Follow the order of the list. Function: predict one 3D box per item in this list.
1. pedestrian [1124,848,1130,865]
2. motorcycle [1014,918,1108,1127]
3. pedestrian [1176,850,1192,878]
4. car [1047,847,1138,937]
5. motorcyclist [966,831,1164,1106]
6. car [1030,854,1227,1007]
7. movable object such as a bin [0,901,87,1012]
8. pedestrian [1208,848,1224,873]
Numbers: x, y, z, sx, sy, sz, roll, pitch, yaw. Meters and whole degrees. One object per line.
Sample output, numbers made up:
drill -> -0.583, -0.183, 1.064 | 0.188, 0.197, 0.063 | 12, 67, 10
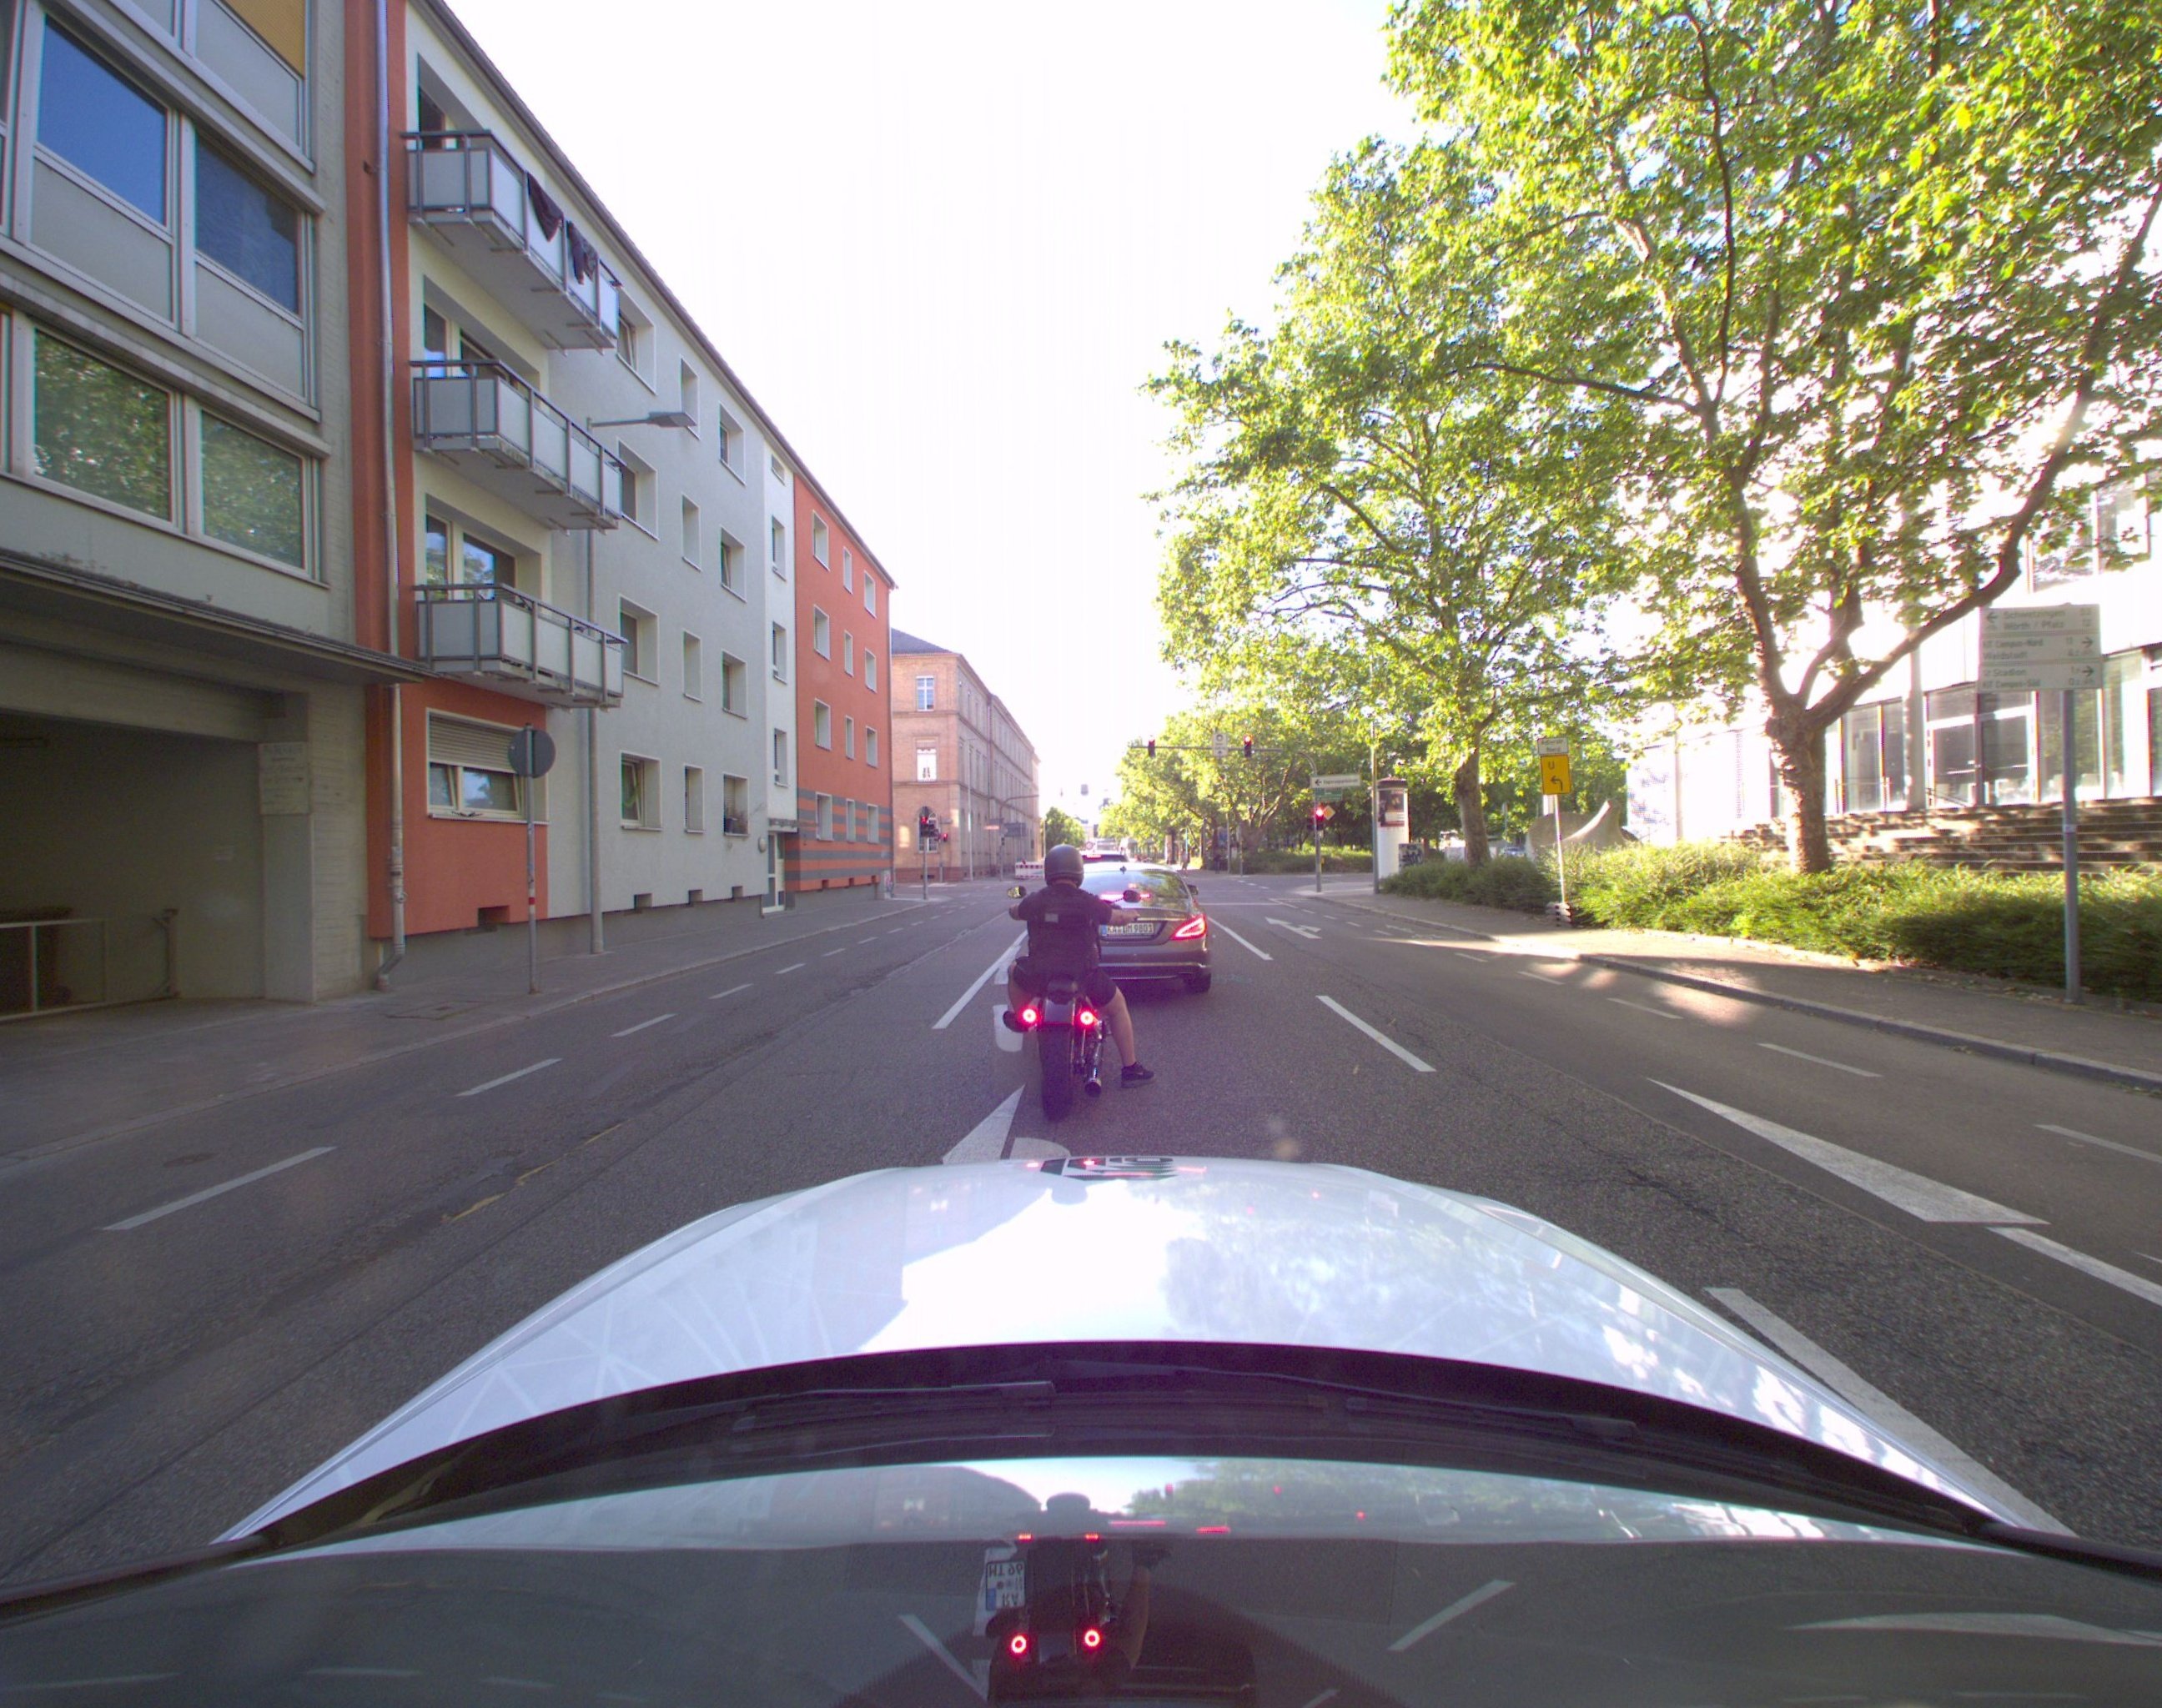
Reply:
pedestrian -> 5.700, 0.276, 100.860 | 0.761, 2.051, 0.712 | 0, -1, 1
motorcycle -> -0.077, 1.005, 5.489 | 0.511, 1.002, 2.014 | 0, -1, 2
pedestrian -> 6.652, 0.647, 52.751 | 0.996, 1.826, 1.078 | 0, -1, 8
car -> 0.274, 0.693, 16.858 | 1.615, 1.594, 4.002 | -1, 0, 2
motorcyclist -> -0.075, 0.672, 5.403 | 1.145, 1.598, 1.288 | 0, -1, 1
car -> 0.515, 0.739, 9.730 | 1.875, 1.449, 3.821 | 0, 0, 2
movable object such as a bin -> -11.259, 1.063, 8.633 | 0.626, 1.100, 0.659 | 0, -1, 4
pedestrian -> 10.419, 0.505, 62.828 | 0.753, 1.910, 0.918 | 0, -1, -26
